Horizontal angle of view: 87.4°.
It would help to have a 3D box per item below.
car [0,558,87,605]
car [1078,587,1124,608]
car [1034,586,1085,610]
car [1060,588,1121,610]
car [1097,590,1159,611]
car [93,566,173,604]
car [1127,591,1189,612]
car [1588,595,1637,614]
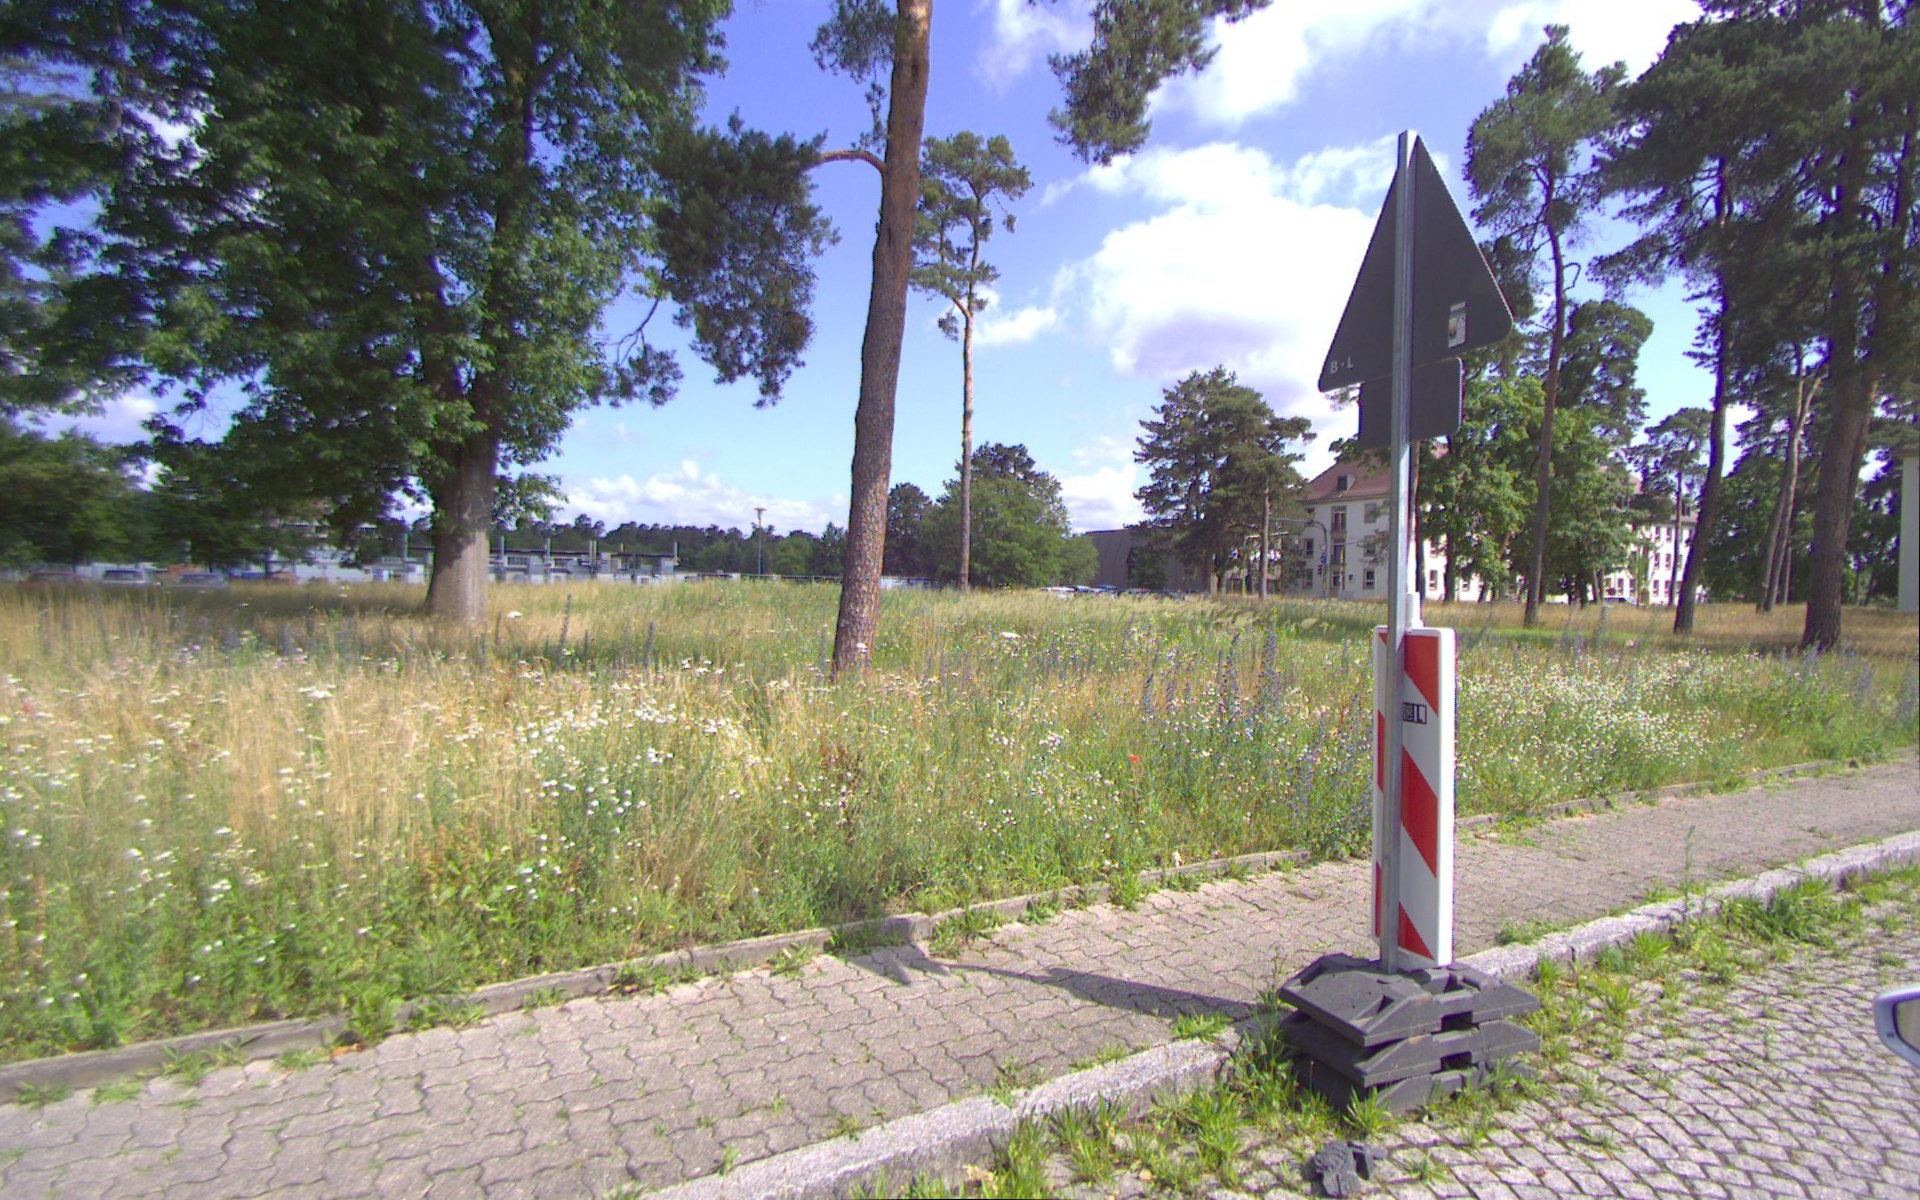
[{"bbox_3d":[-35.761,-0.711,39.172,1.879,1.714,4.037,1,0,-31],"label":"car"},{"bbox_3d":[12.452,-0.249,88.878,1.879,1.804,4.045,1,0,-31],"label":"car"},{"bbox_3d":[7.549,-0.167,76.669,1.879,1.725,4.045,1,0,-31],"label":"car"},{"bbox_3d":[8.445,-0.089,65.264,1.879,1.356,4.045,1,0,-31],"label":"car"},{"bbox_3d":[11.064,0.016,66.290,1.879,1.337,4.045,1,0,-31],"label":"car"},{"bbox_3d":[-33.427,-0.599,40.697,1.879,1.431,4.037,1,0,-31],"label":"car"},{"bbox_3d":[13.208,0.069,67.280,1.879,1.327,4.045,1,0,-31],"label":"car"},{"bbox_3d":[68.977,0.477,106.240,1.692,2.018,4.041,1,0,-29],"label":"car"}]
